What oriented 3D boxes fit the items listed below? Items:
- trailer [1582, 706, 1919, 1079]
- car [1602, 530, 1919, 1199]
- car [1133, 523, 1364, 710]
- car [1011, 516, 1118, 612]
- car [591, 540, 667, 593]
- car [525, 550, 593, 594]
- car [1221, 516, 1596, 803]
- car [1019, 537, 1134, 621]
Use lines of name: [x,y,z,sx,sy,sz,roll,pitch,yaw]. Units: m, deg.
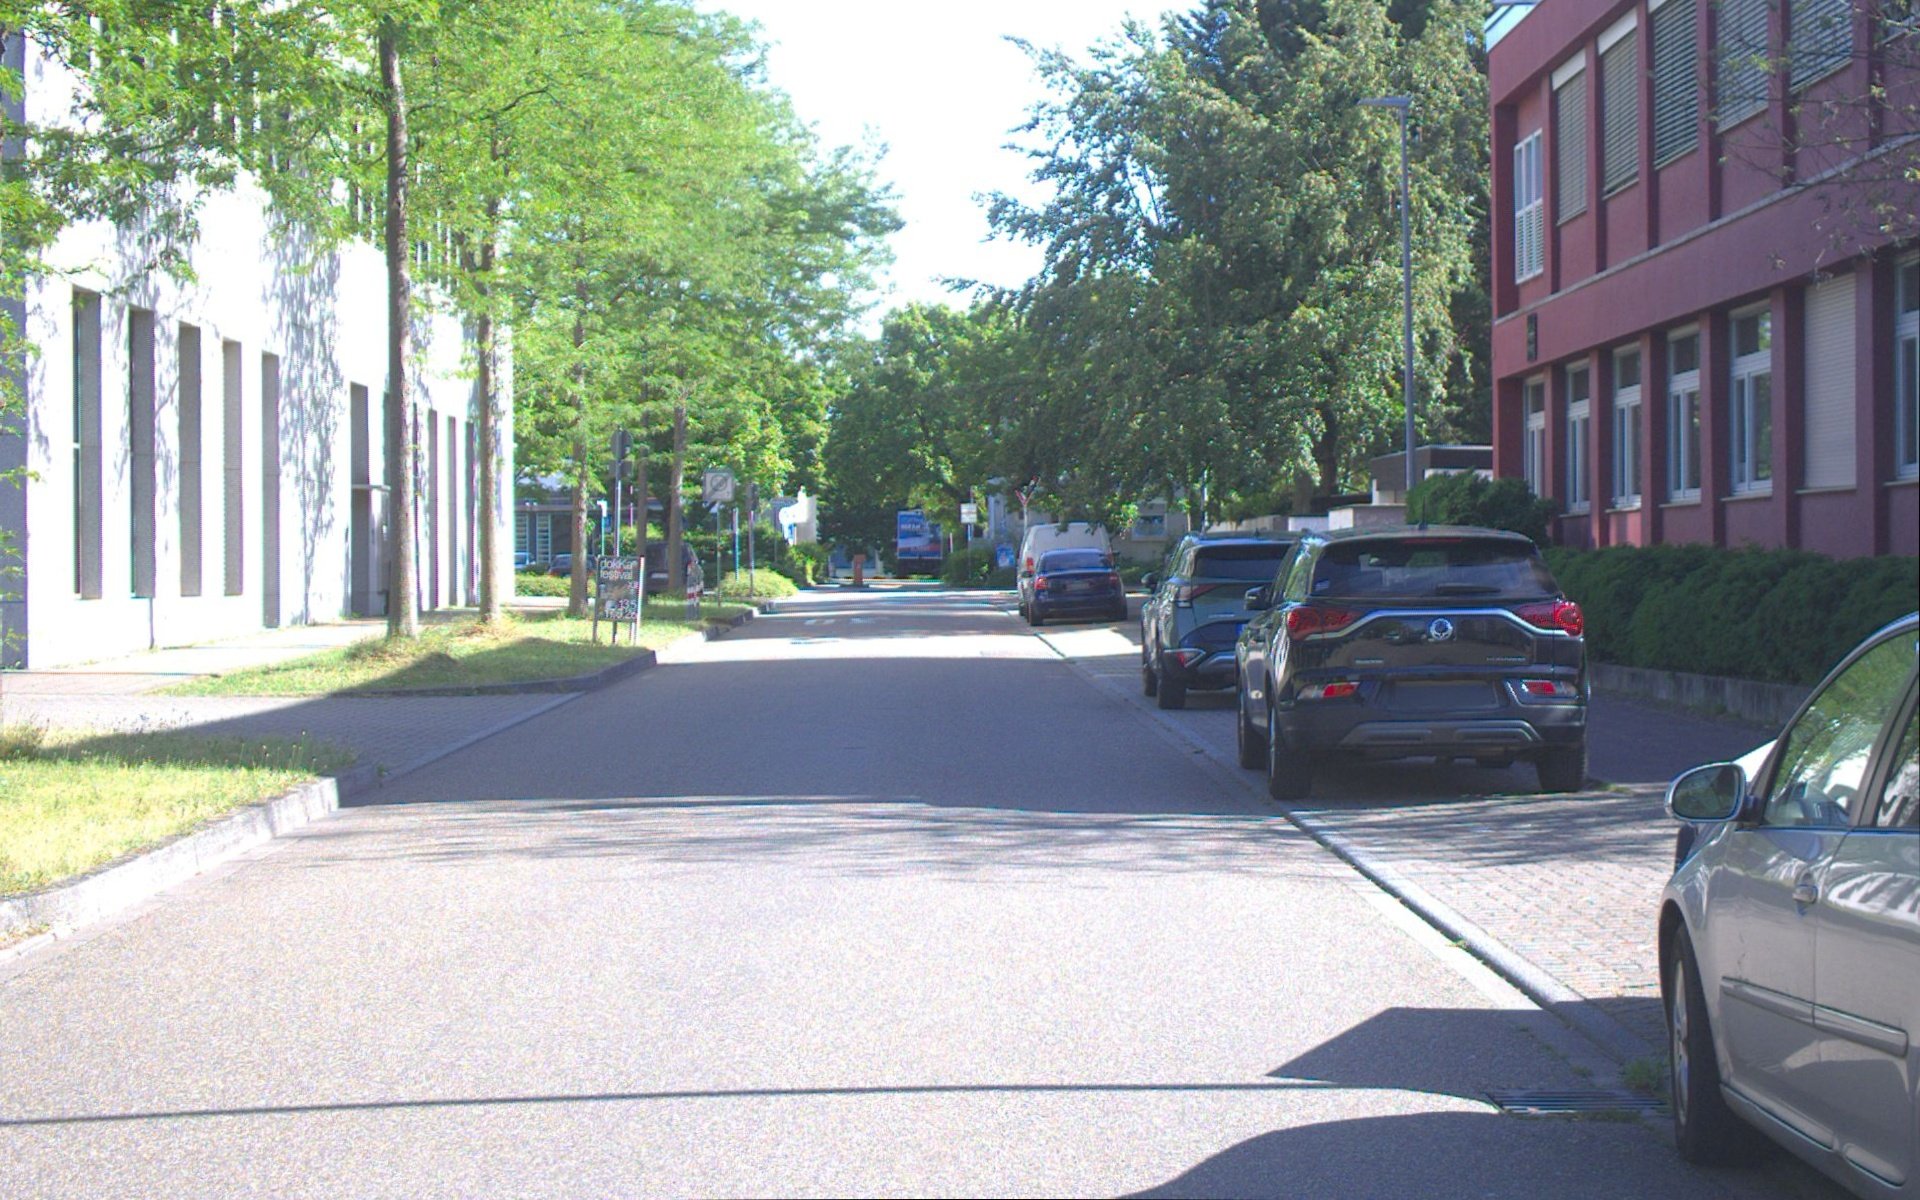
trailer: [3.059,0.883,11.260,1.373,0.909,2.934,1,1,24]
car: [2.534,0.635,7.185,1.660,1.556,3.935,0,1,0]
car: [2.682,0.109,32.740,1.855,1.642,4.000,-1,1,0]
car: [2.136,-0.755,71.162,1.993,1.828,4.000,-3,1,0]
car: [-9.314,-0.946,96.941,1.993,1.453,3.793,0,1,-3]
car: [-12.494,-0.890,107.255,1.905,1.337,3.794,0,1,-3]
car: [2.707,0.299,21.631,1.838,1.628,4.201,0,1,0]
car: [2.185,-0.419,65.430,1.993,1.437,4.000,-3,1,0]
